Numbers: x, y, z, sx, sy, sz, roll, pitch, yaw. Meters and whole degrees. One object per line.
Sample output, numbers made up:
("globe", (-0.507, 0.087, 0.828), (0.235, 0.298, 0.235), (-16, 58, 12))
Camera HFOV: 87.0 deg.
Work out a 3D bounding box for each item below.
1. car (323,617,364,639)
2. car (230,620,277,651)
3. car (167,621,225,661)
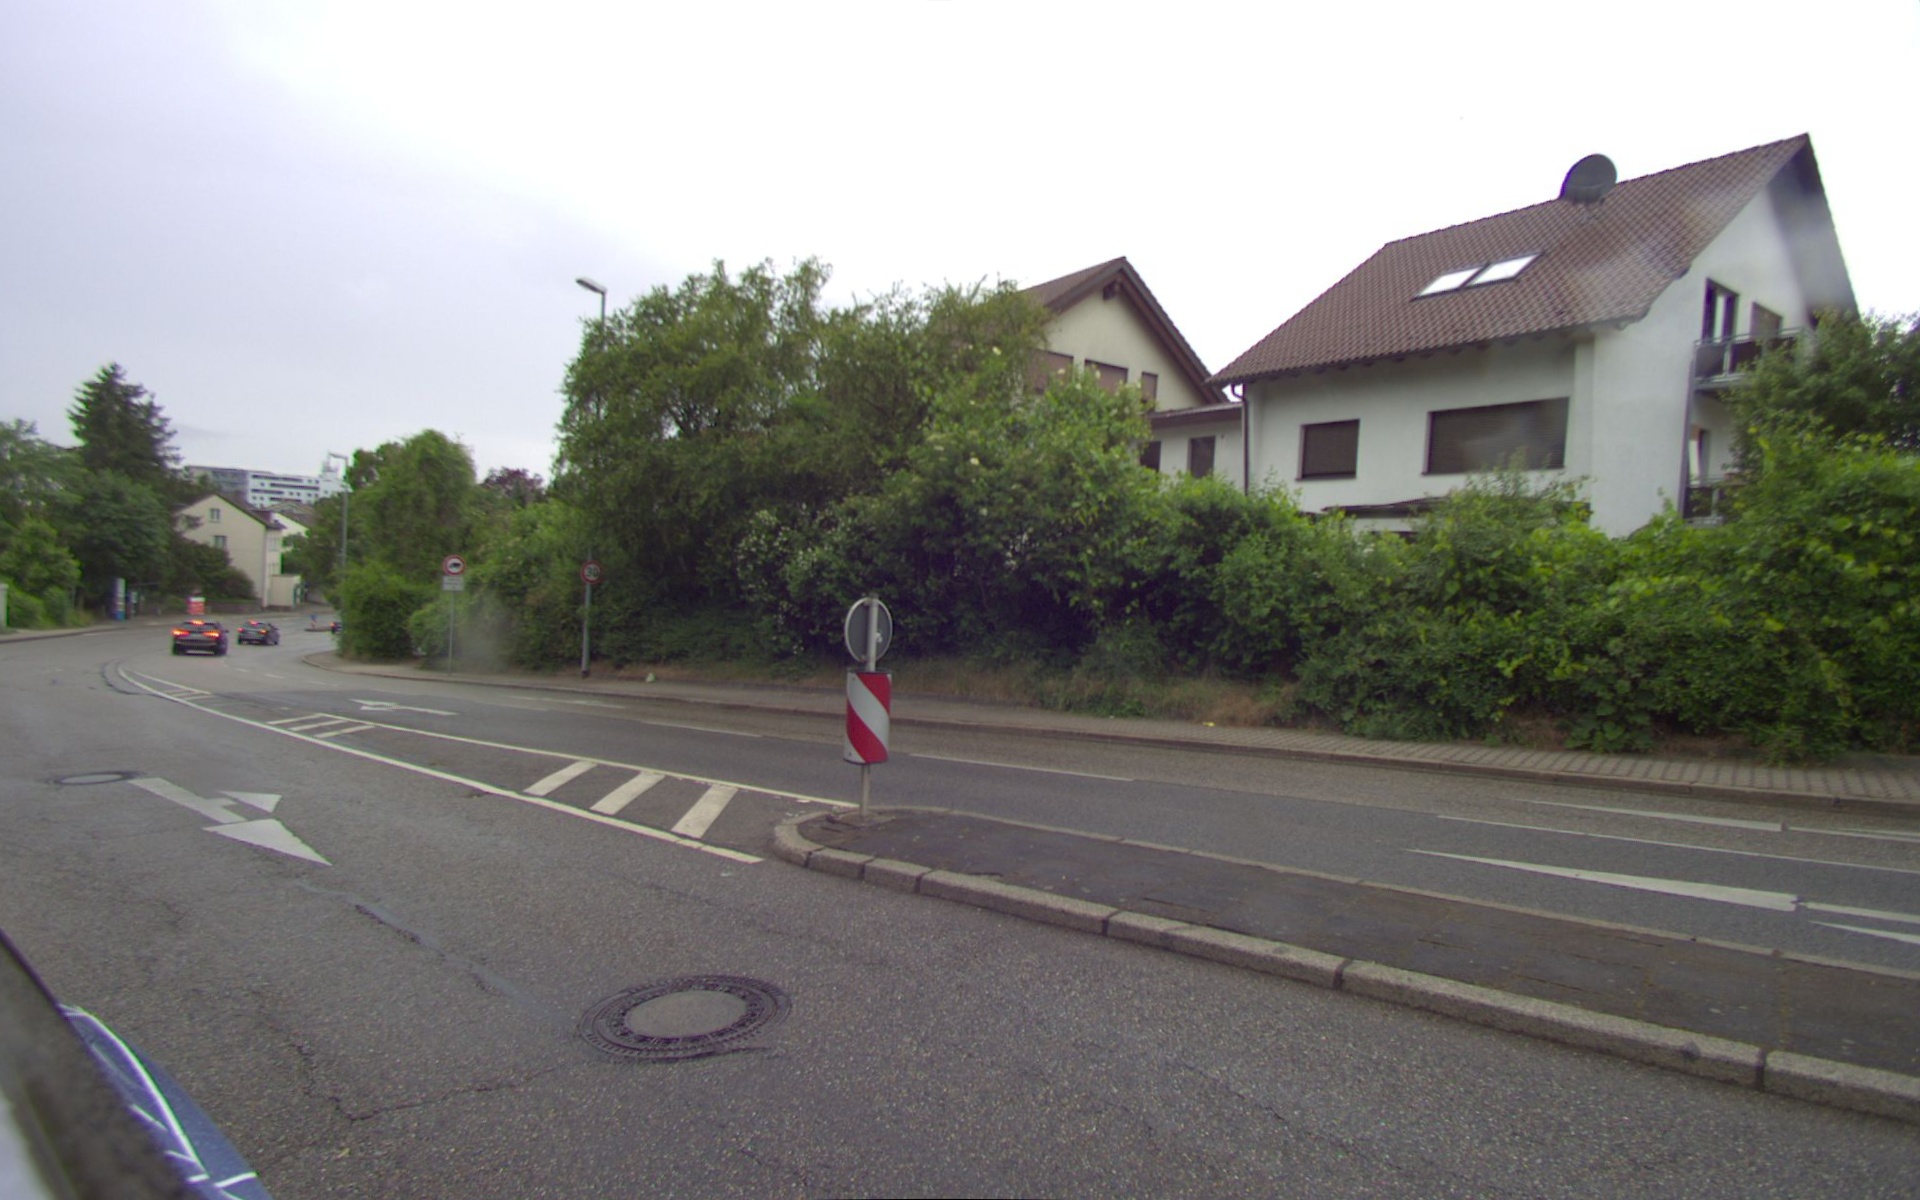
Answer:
("car", (-54.436, 2.501, 89.412), (1.966, 1.929, 4.011), (1, -2, -14))
("car", (-47.847, 2.408, 68.610), (2.097, 2.029, 4.099), (2, -2, -28))
("car", (-38.519, 2.071, 51.085), (1.929, 1.860, 4.011), (4, -4, -33))
